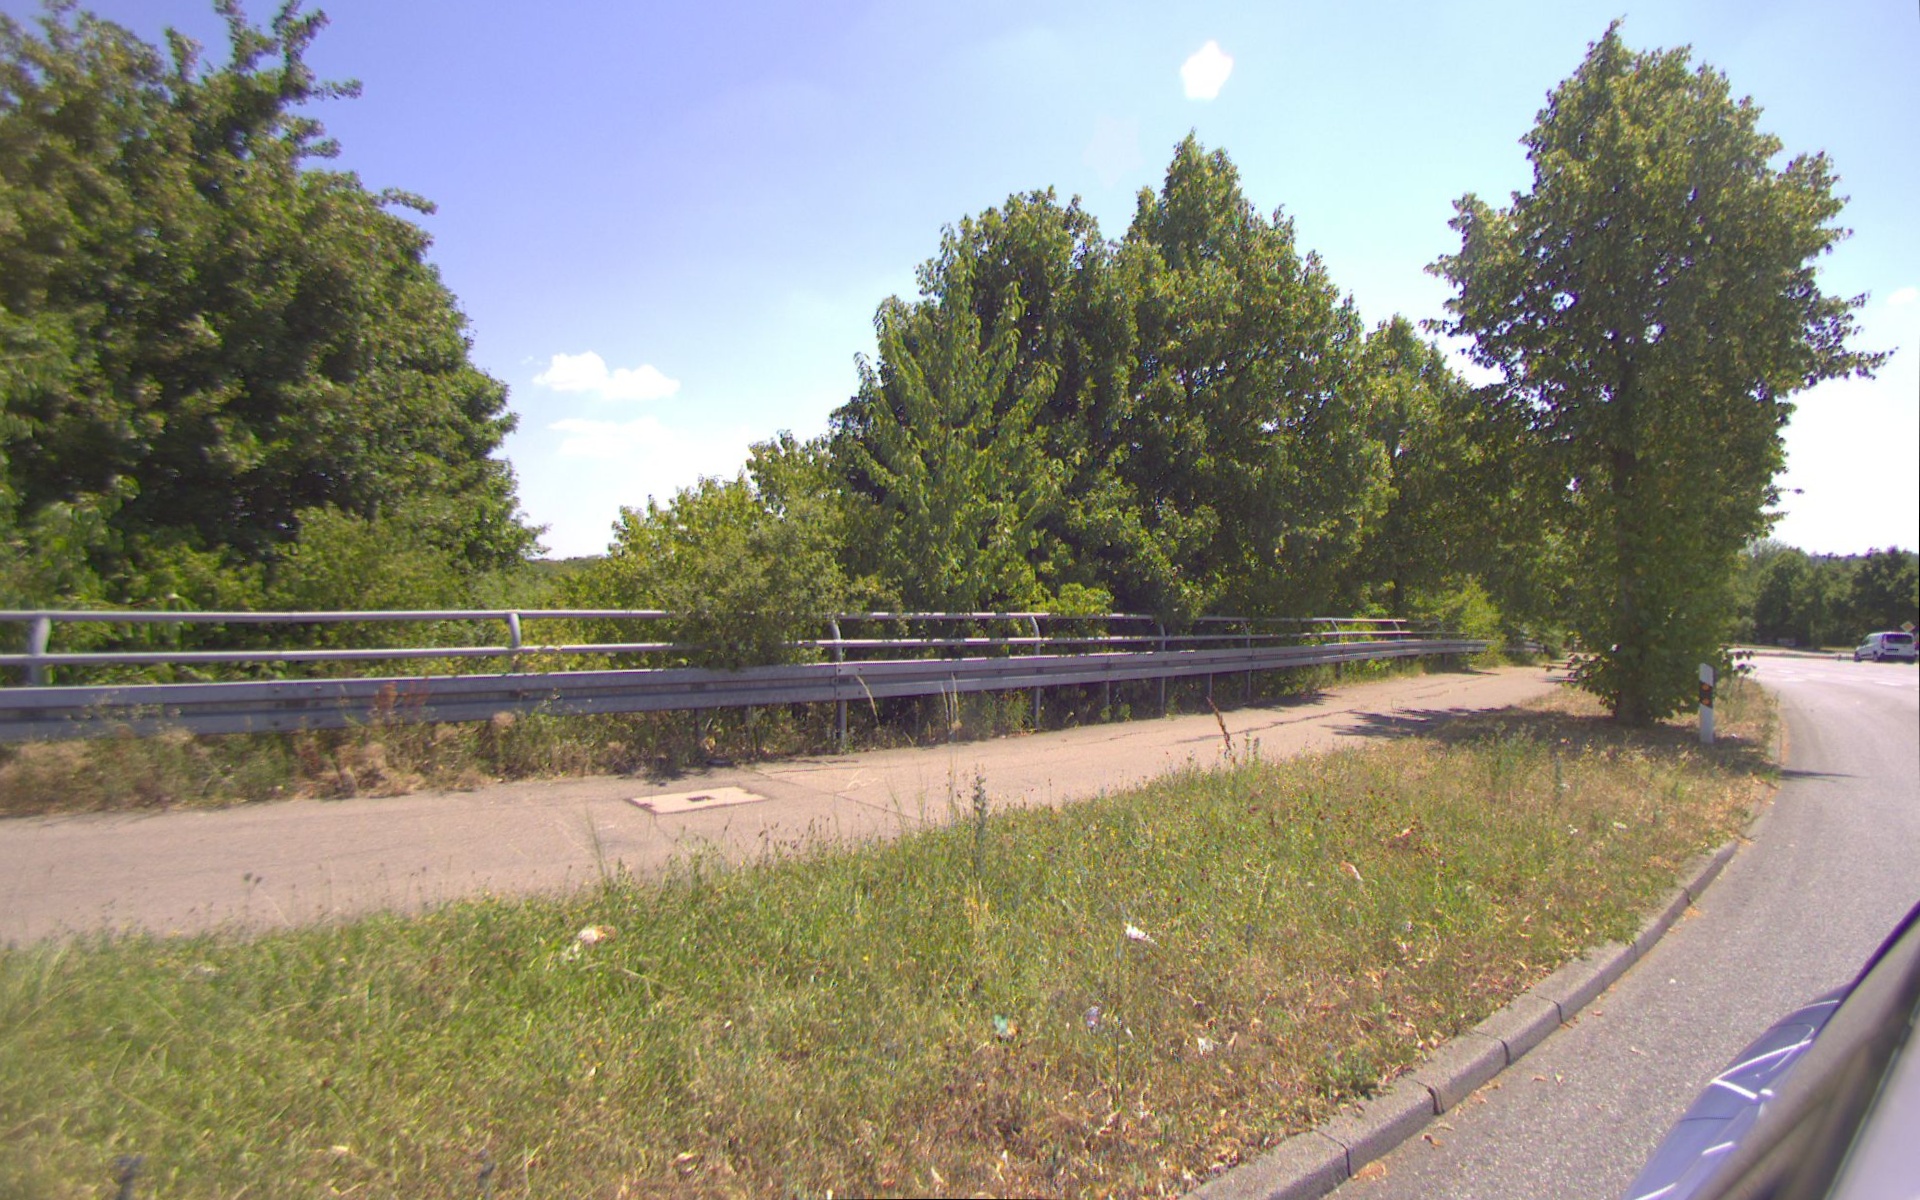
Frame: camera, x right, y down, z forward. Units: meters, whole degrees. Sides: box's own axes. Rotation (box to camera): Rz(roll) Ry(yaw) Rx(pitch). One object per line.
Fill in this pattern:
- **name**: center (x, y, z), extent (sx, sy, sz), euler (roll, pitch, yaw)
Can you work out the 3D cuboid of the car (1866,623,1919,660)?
- **car**: center (56.283, 2.441, 60.578), extent (1.980, 1.985, 3.965), euler (0, 0, 26)
